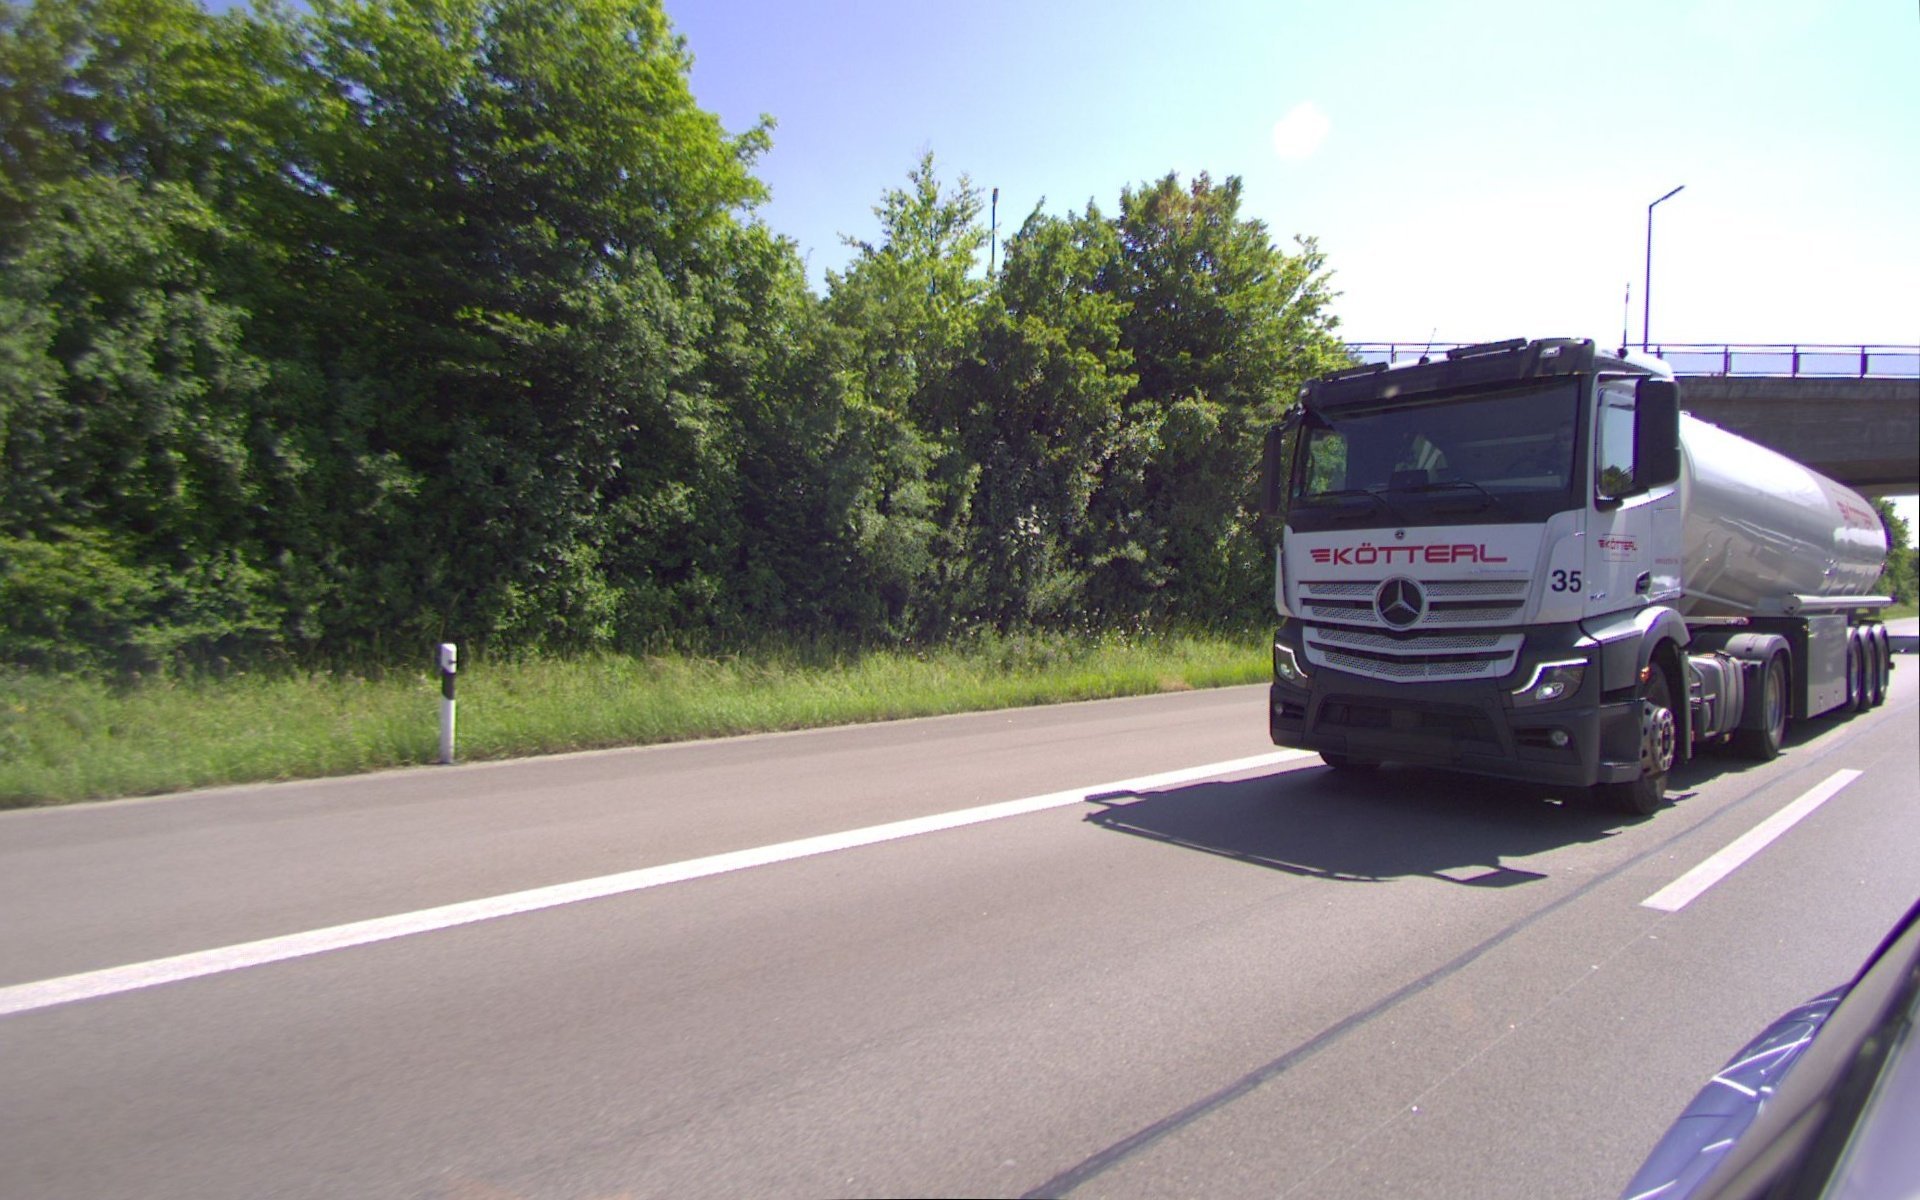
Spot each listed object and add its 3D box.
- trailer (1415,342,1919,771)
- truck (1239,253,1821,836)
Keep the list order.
[{"bbox_3d":[9.531,-0.375,12.717,10.957,3.433,2.652,0,0,-41],"label":"trailer"},{"bbox_3d":[5.422,-0.345,9.055,6.375,3.417,2.642,0,0,-42],"label":"truck"}]
